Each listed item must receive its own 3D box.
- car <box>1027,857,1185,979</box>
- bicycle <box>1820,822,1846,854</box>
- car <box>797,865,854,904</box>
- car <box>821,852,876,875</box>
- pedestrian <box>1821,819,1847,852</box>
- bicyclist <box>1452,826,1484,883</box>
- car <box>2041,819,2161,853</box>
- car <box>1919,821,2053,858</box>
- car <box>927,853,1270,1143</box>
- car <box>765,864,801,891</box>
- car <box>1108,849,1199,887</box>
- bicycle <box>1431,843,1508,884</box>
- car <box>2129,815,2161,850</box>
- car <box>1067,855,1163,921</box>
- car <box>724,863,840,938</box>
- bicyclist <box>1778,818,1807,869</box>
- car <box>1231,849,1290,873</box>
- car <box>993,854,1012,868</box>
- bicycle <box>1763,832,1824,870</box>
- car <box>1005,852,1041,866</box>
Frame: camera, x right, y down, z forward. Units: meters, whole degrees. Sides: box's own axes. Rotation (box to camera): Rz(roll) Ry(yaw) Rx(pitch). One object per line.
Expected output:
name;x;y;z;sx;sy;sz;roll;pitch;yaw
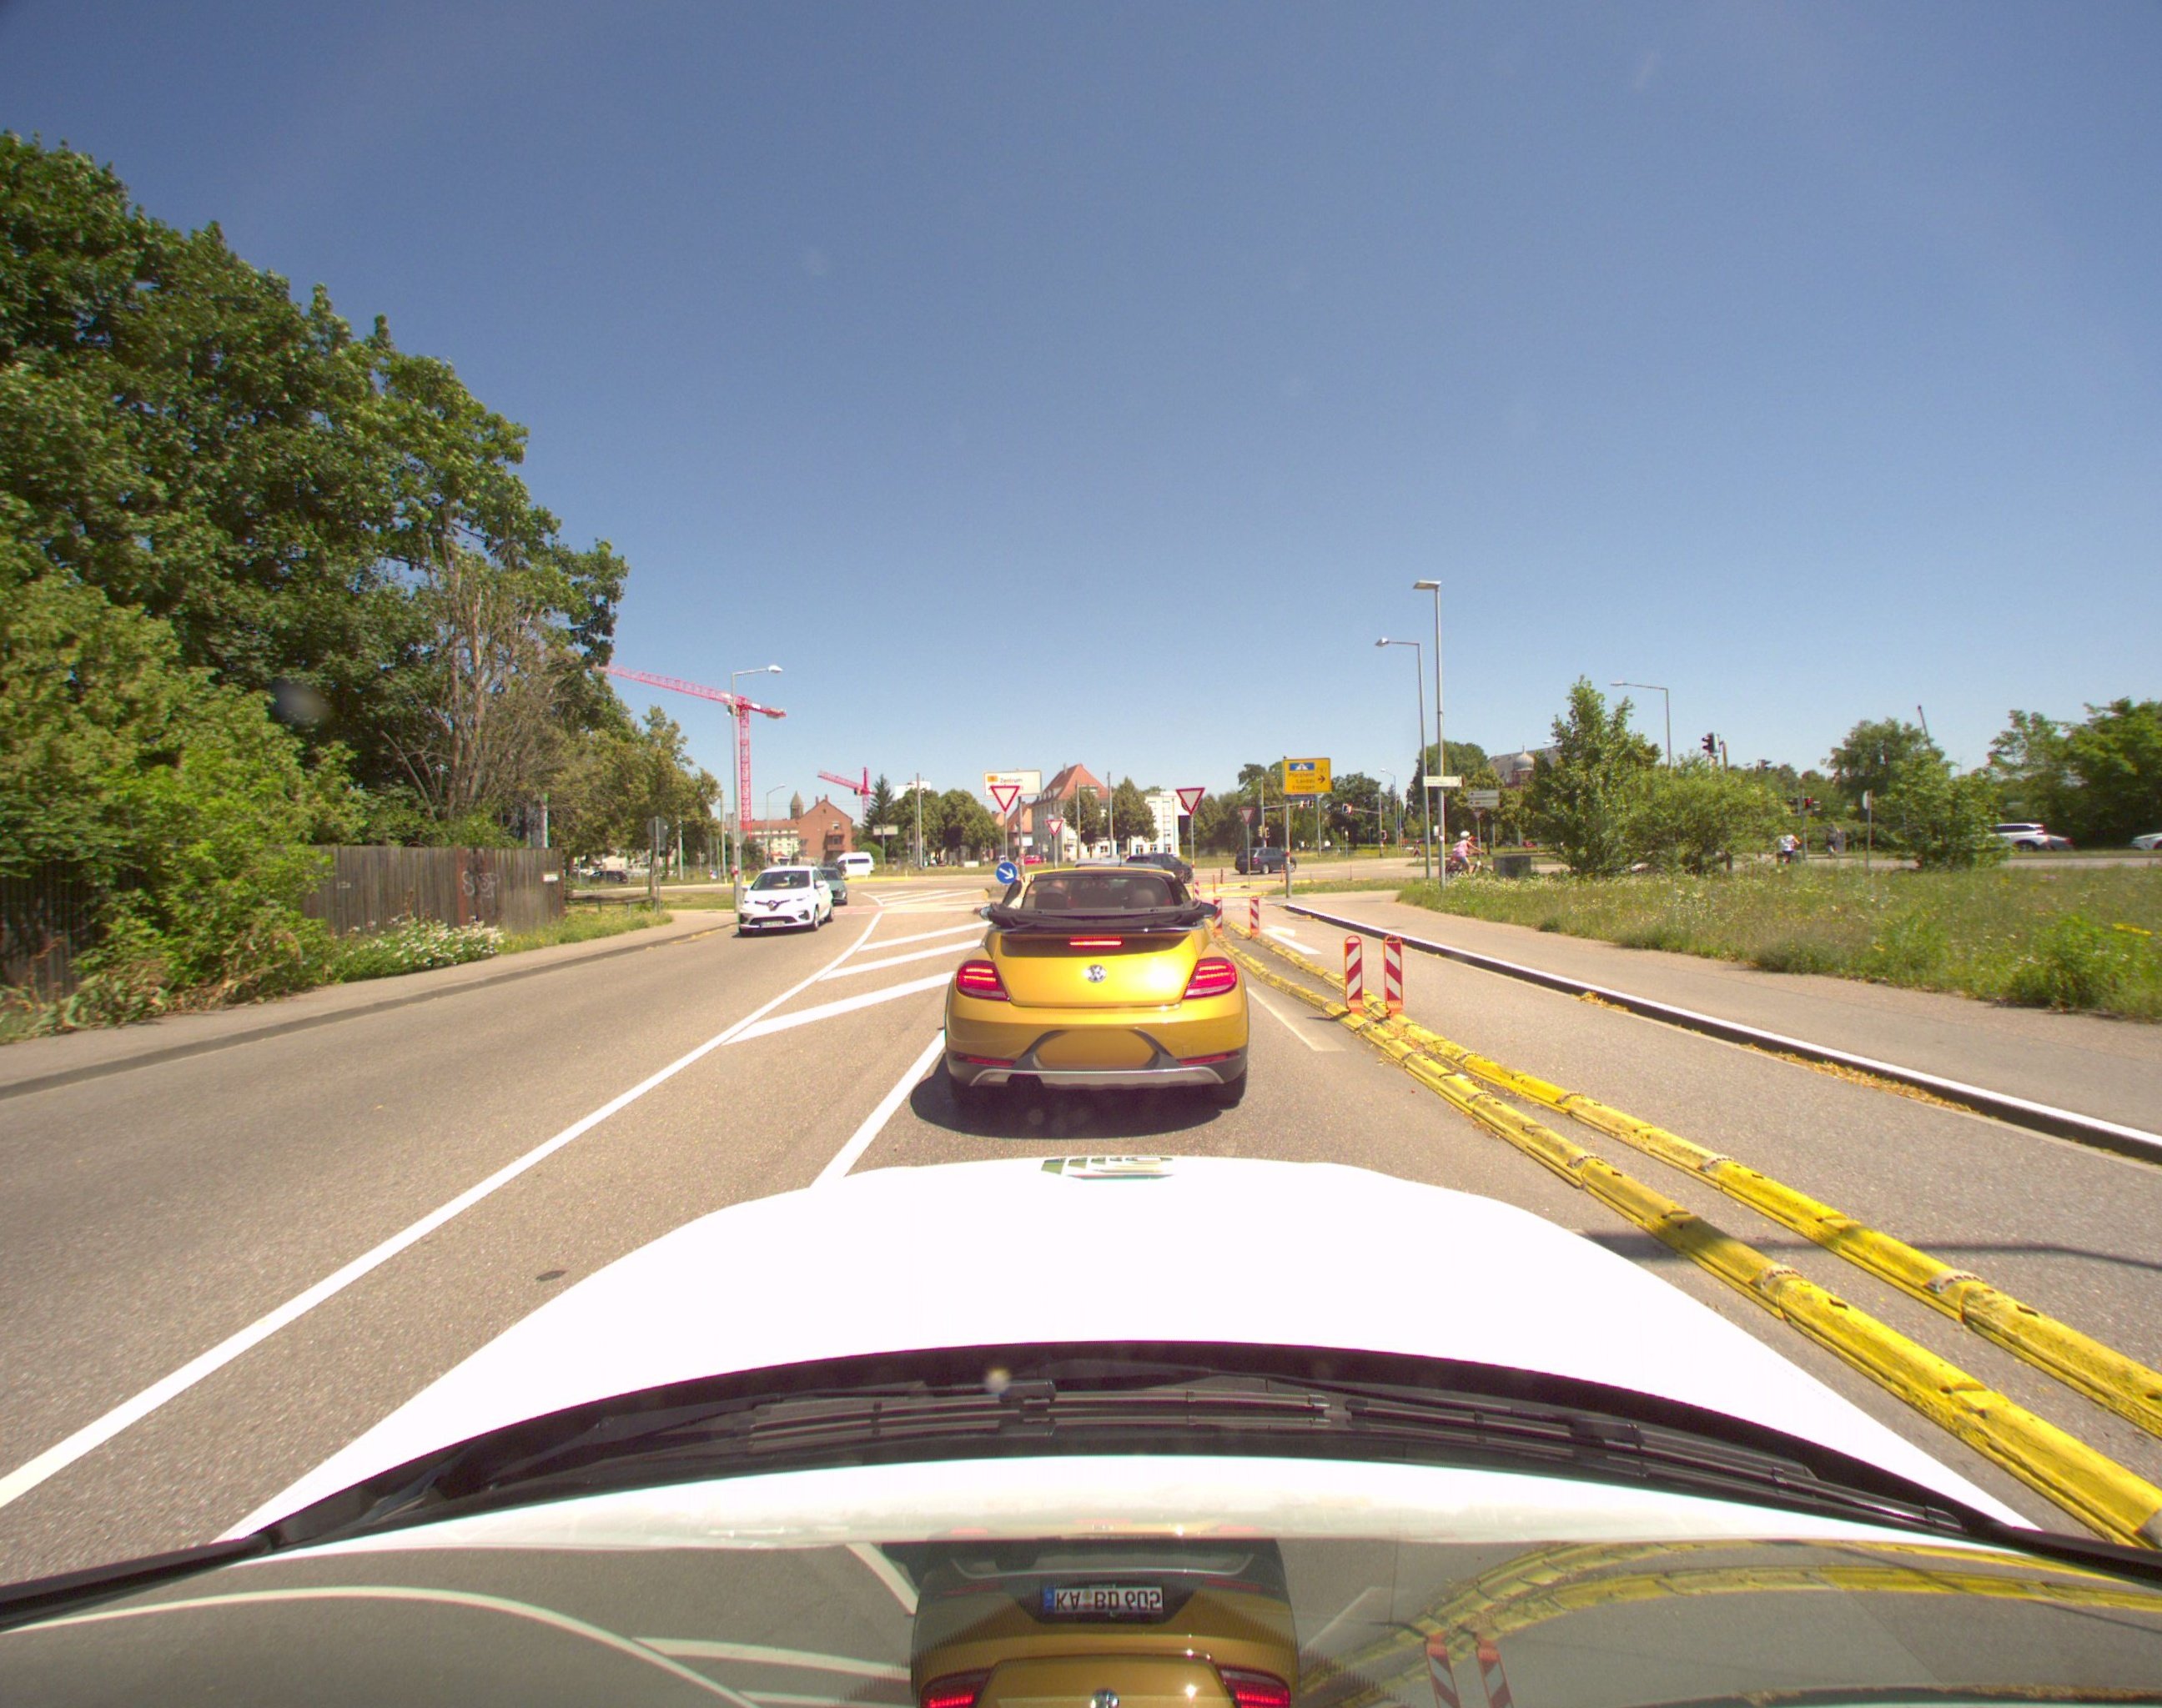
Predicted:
car;0.363;0.777;11.864;1.844;1.366;4.260;-2;0;2
bicycle;39.244;-0.812;42.493;0.972;1.597;2.900;-1;-1;43
car;-9.886;1.147;31.778;1.748;1.371;4.312;0;-1;-13
car;-24.924;0.955;87.535;5.348;2.397;1.973;0;-1;-33
pedestrian;39.188;-0.940;42.406;0.959;1.660;0.892;-1;-1;44
bicyclist;12.301;0.012;25.887;0.667;1.752;0.593;-3;1;3
car;51.400;-0.861;40.590;4.389;1.592;1.860;-1;-1;43
car;45.905;-0.693;41.449;4.389;1.736;1.860;-1;-1;43
car;0.155;0.761;6.325;1.758;1.481;4.259;0;-1;2
car;-16.914;1.287;46.111;1.734;1.402;4.239;0;-1;-22
car;3.329;0.595;36.544;2.045;1.481;4.572;-2;0;35
bicycle;12.331;0.302;25.883;2.082;1.221;0.634;-2;0;4
car;51.226;-1.010;36.852;4.389;1.592;1.860;-1;-1;43
car;0.752;0.748;19.620;2.058;1.382;4.258;0;-1;1
car;-7.147;1.037;19.846;1.774;1.527;3.862;-2;0;-7
bicyclist;25.772;-0.368;29.499;0.573;1.841;0.603;0;-1;-29
car;9.860;0.372;44.644;3.233;1.259;1.422;0;-1;-39
car;-12.369;1.080;128.429;1.993;2.070;5.296;0;-1;-18
bicycle;25.895;-0.105;29.575;2.902;1.353;0.635;0;-1;-28
car;-7.420;0.625;103.417;4.338;1.654;1.892;0;-1;-14
